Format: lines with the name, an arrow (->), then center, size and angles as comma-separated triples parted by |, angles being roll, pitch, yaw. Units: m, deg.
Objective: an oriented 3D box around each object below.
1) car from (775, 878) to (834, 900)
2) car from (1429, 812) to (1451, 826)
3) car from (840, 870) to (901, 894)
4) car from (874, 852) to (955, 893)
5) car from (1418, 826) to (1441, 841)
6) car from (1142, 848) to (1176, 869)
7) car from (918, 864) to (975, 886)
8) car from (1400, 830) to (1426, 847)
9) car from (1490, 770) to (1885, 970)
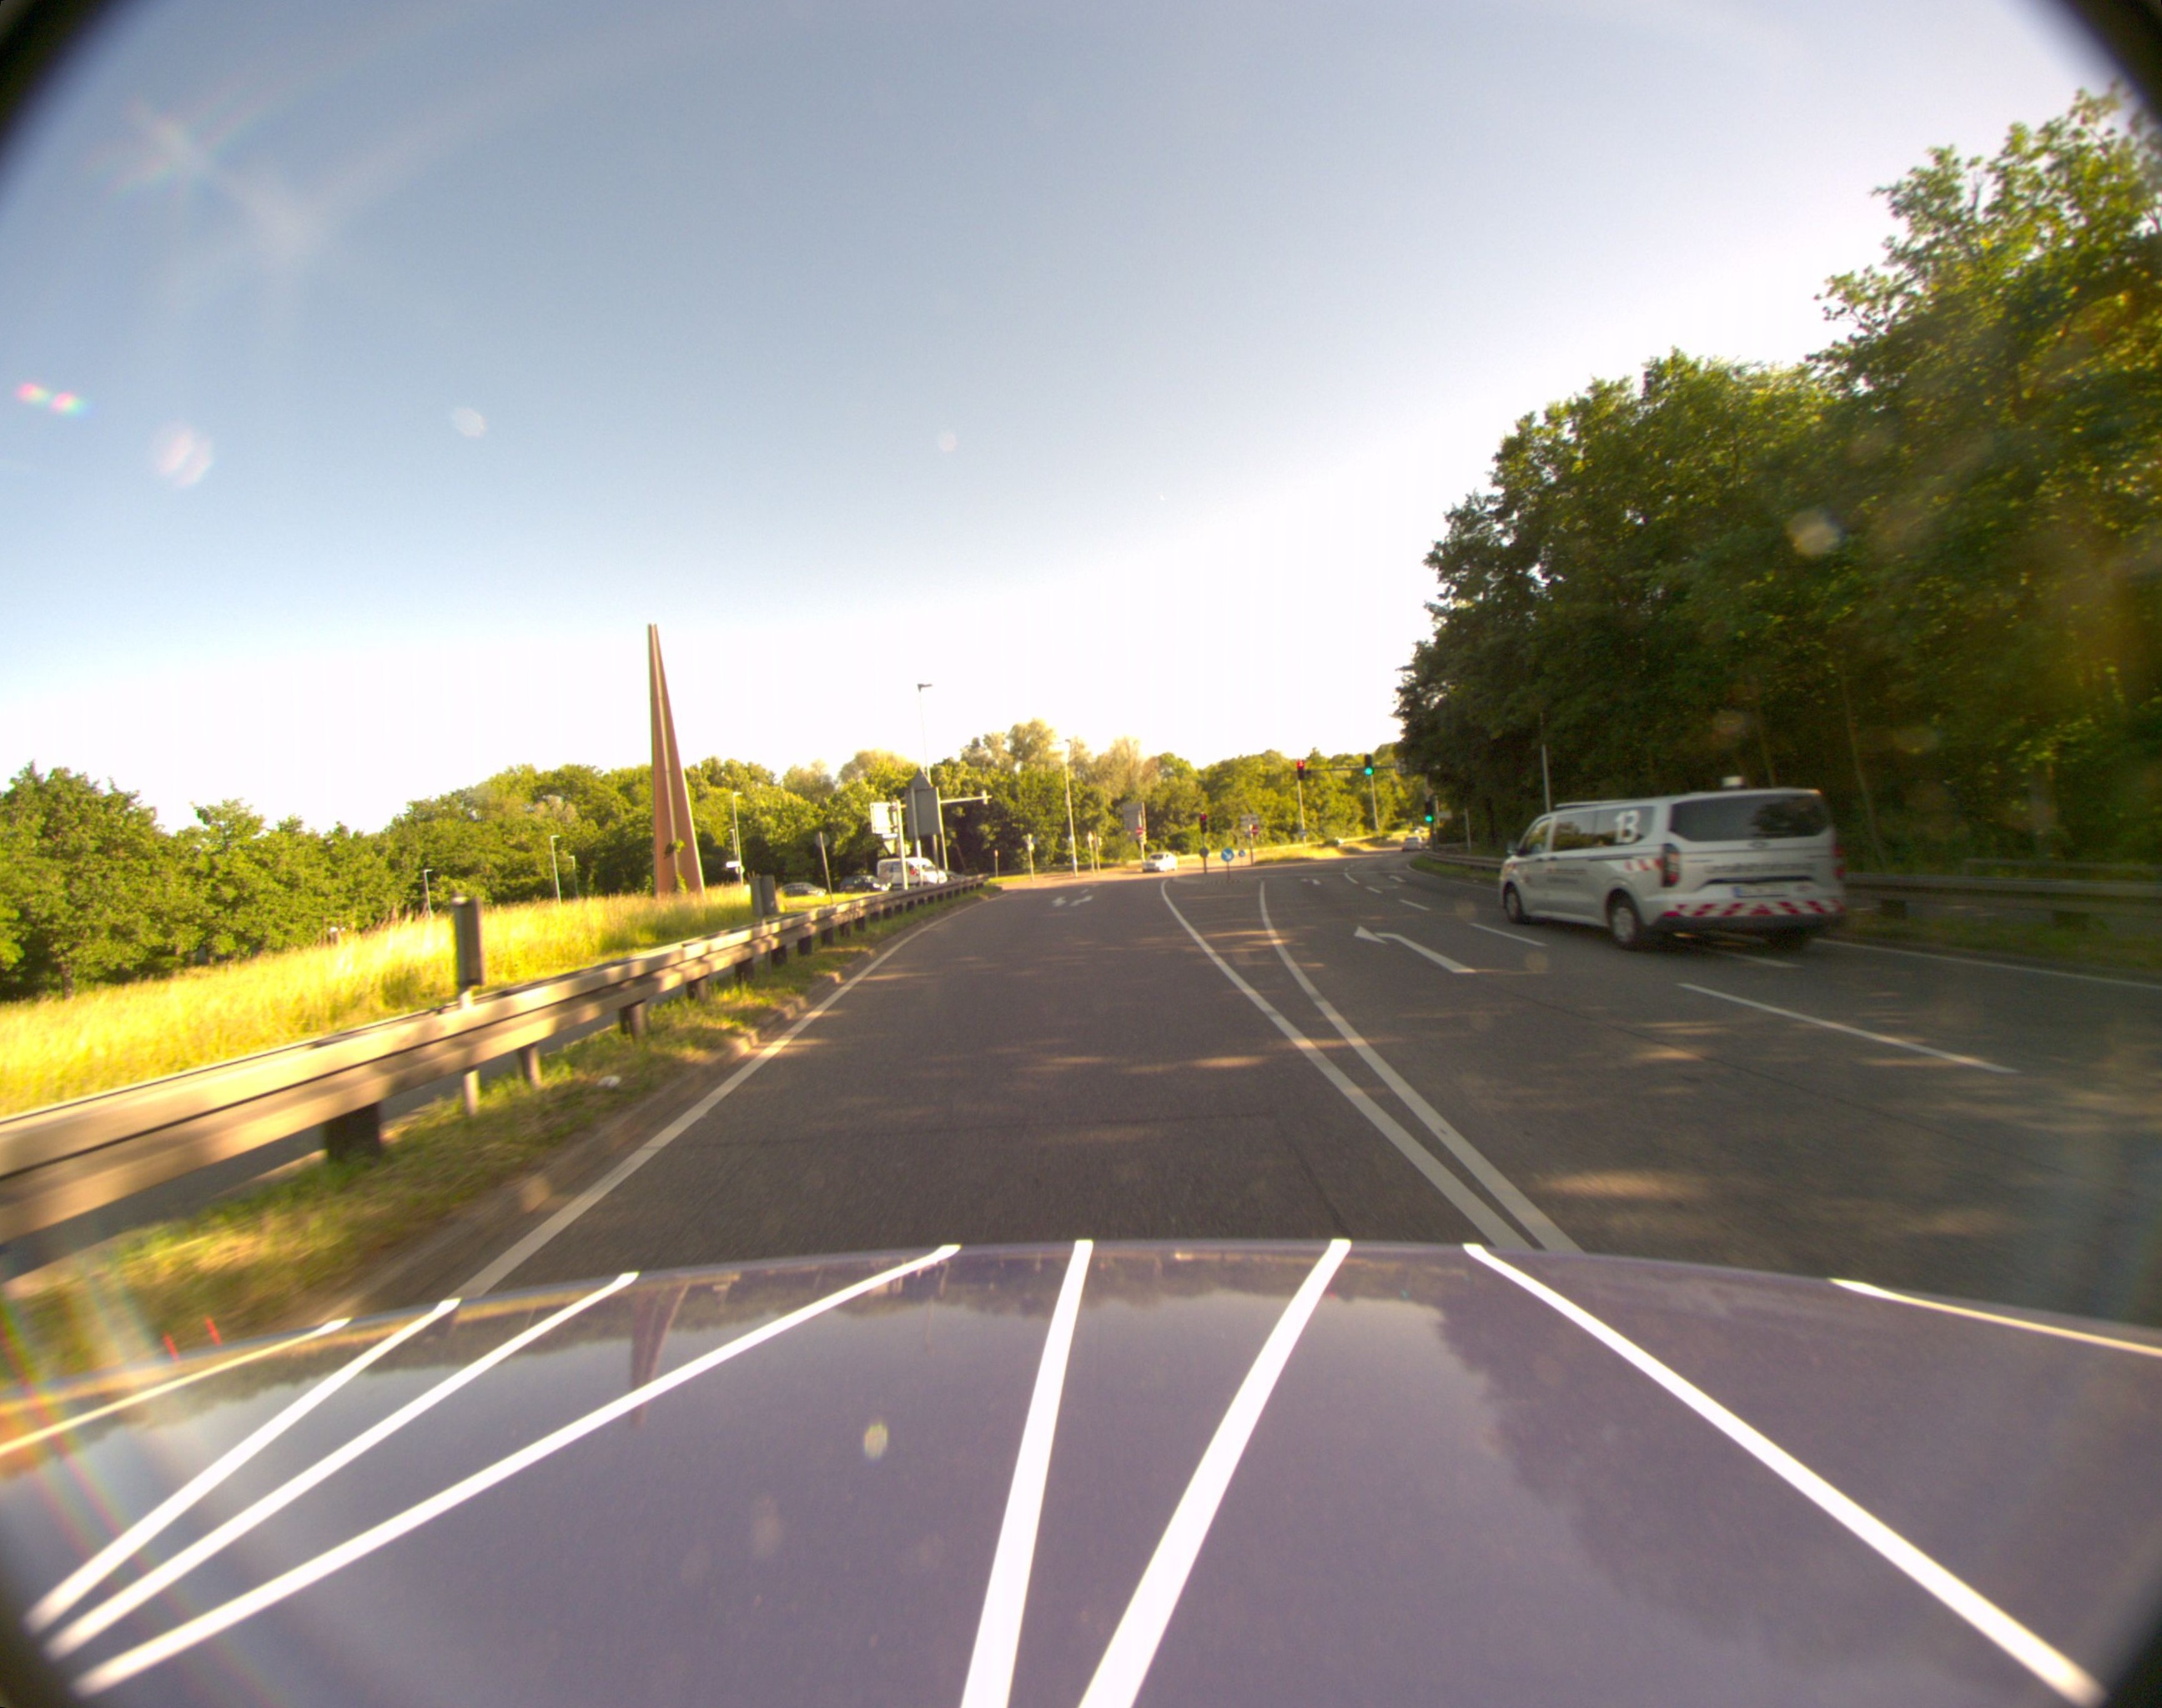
car -> -20.274, 2.590, 55.674 | 4.279, 1.383, 1.651 | -3, 1, 31
car -> 55.900, -5.518, 118.306 | 1.995, 2.002, 4.007 | -3, 1, 39
car -> -14.493, 1.931, 52.257 | 3.978, 1.405, 1.848 | -3, 1, 33
car -> -12.037, 1.362, 54.894 | 5.692, 2.484, 2.118 | -5, 0, 32
car -> 40.859, -2.382, 88.966 | 1.701, 1.383, 4.533 | -2, 5, 34
car -> 6.043, 0.322, 58.346 | 1.762, 1.428, 4.334 | -3, 1, 16
car -> -10.296, 1.586, 58.084 | 4.078, 1.431, 1.772 | -3, 1, 31
car -> 32.819, -1.522, 75.039 | 1.849, 1.479, 4.636 | -3, 1, 28
car -> 7.921, 0.153, 10.805 | 1.952, 2.100, 5.273 | -2, 1, 8
